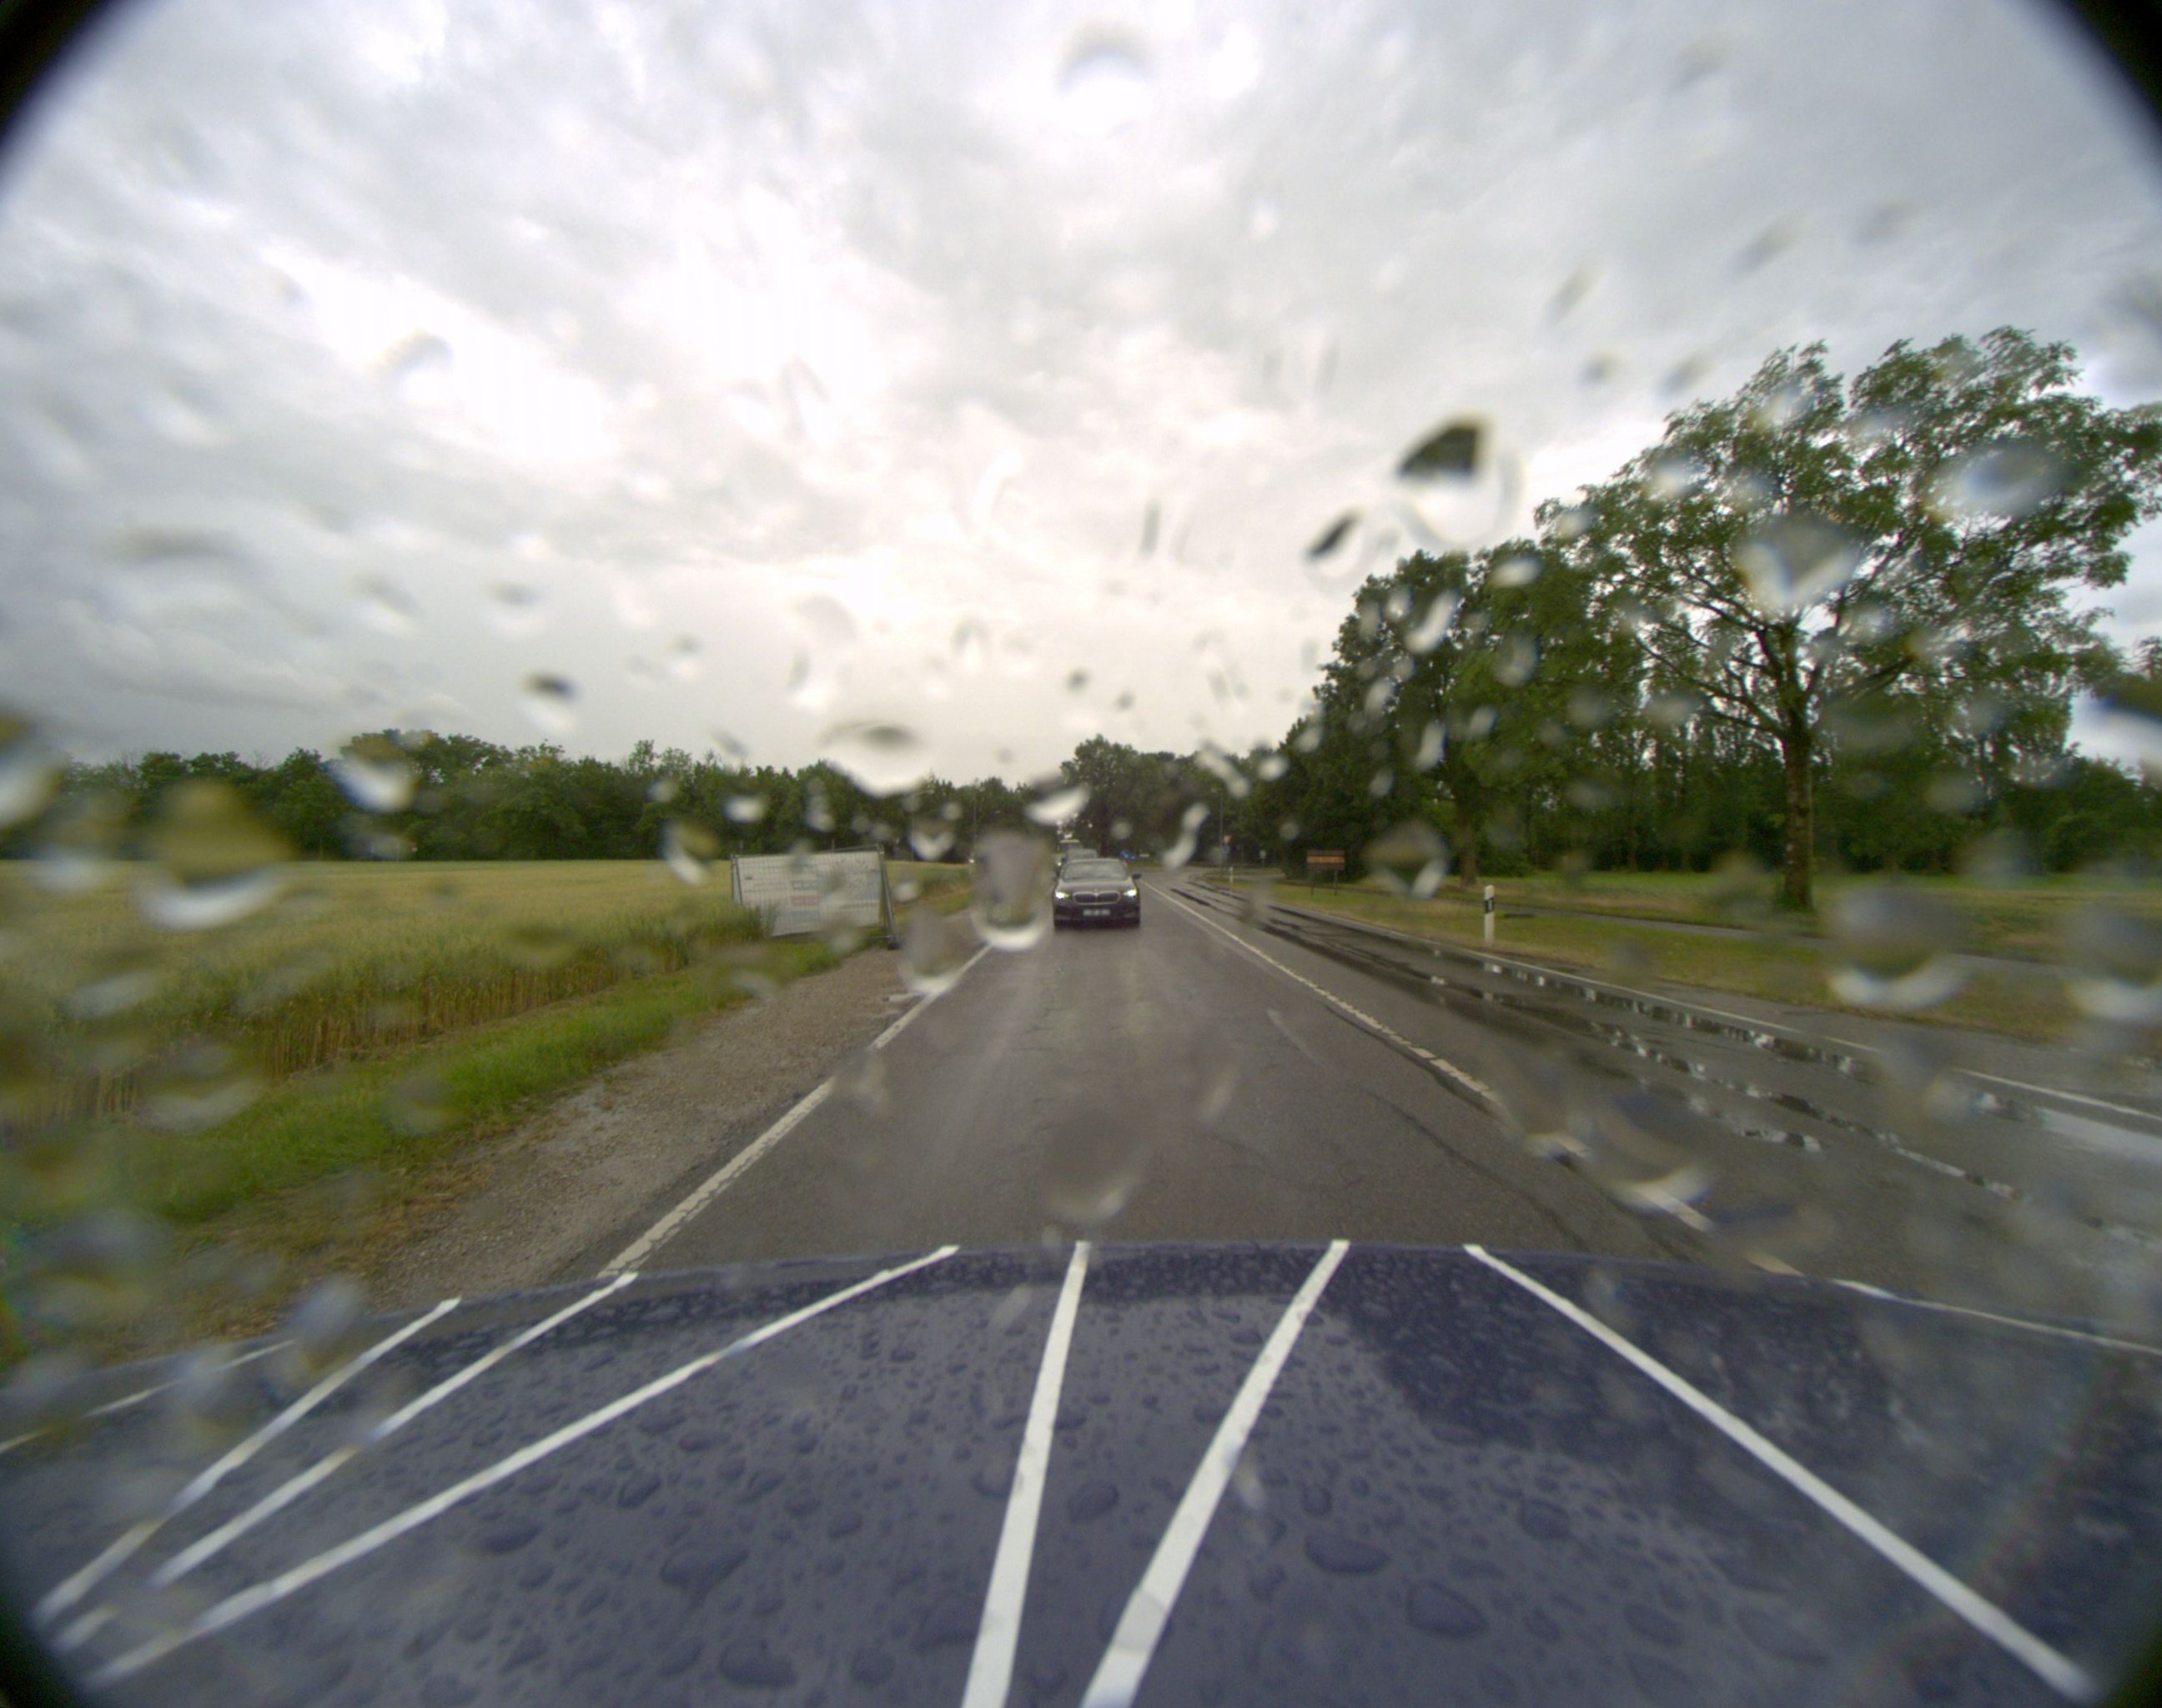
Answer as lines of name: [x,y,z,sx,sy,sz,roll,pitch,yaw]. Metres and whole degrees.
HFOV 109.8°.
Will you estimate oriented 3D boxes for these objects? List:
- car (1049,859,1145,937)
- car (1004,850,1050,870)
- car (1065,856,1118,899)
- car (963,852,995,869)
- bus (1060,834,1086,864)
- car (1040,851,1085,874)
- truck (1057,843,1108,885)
car: [0.335,0.894,17.263,1.892,1.484,4.035,-1,0,0]
car: [-4.425,0.475,61.440,1.896,1.522,4.491,-2,0,-31]
car: [0.394,0.869,29.627,1.892,1.482,4.191,-2,0,0]
car: [-9.638,0.577,71.402,1.895,1.522,4.494,-2,0,-21]
bus: [-0.971,-0.617,100.303,2.995,3.665,14.294,1,0,1]
car: [-1.422,0.616,55.206,1.894,1.522,5.247,-1,0,-17]
truck: [0.000,0.498,42.310,2.077,2.050,5.765,-3,1,-6]
